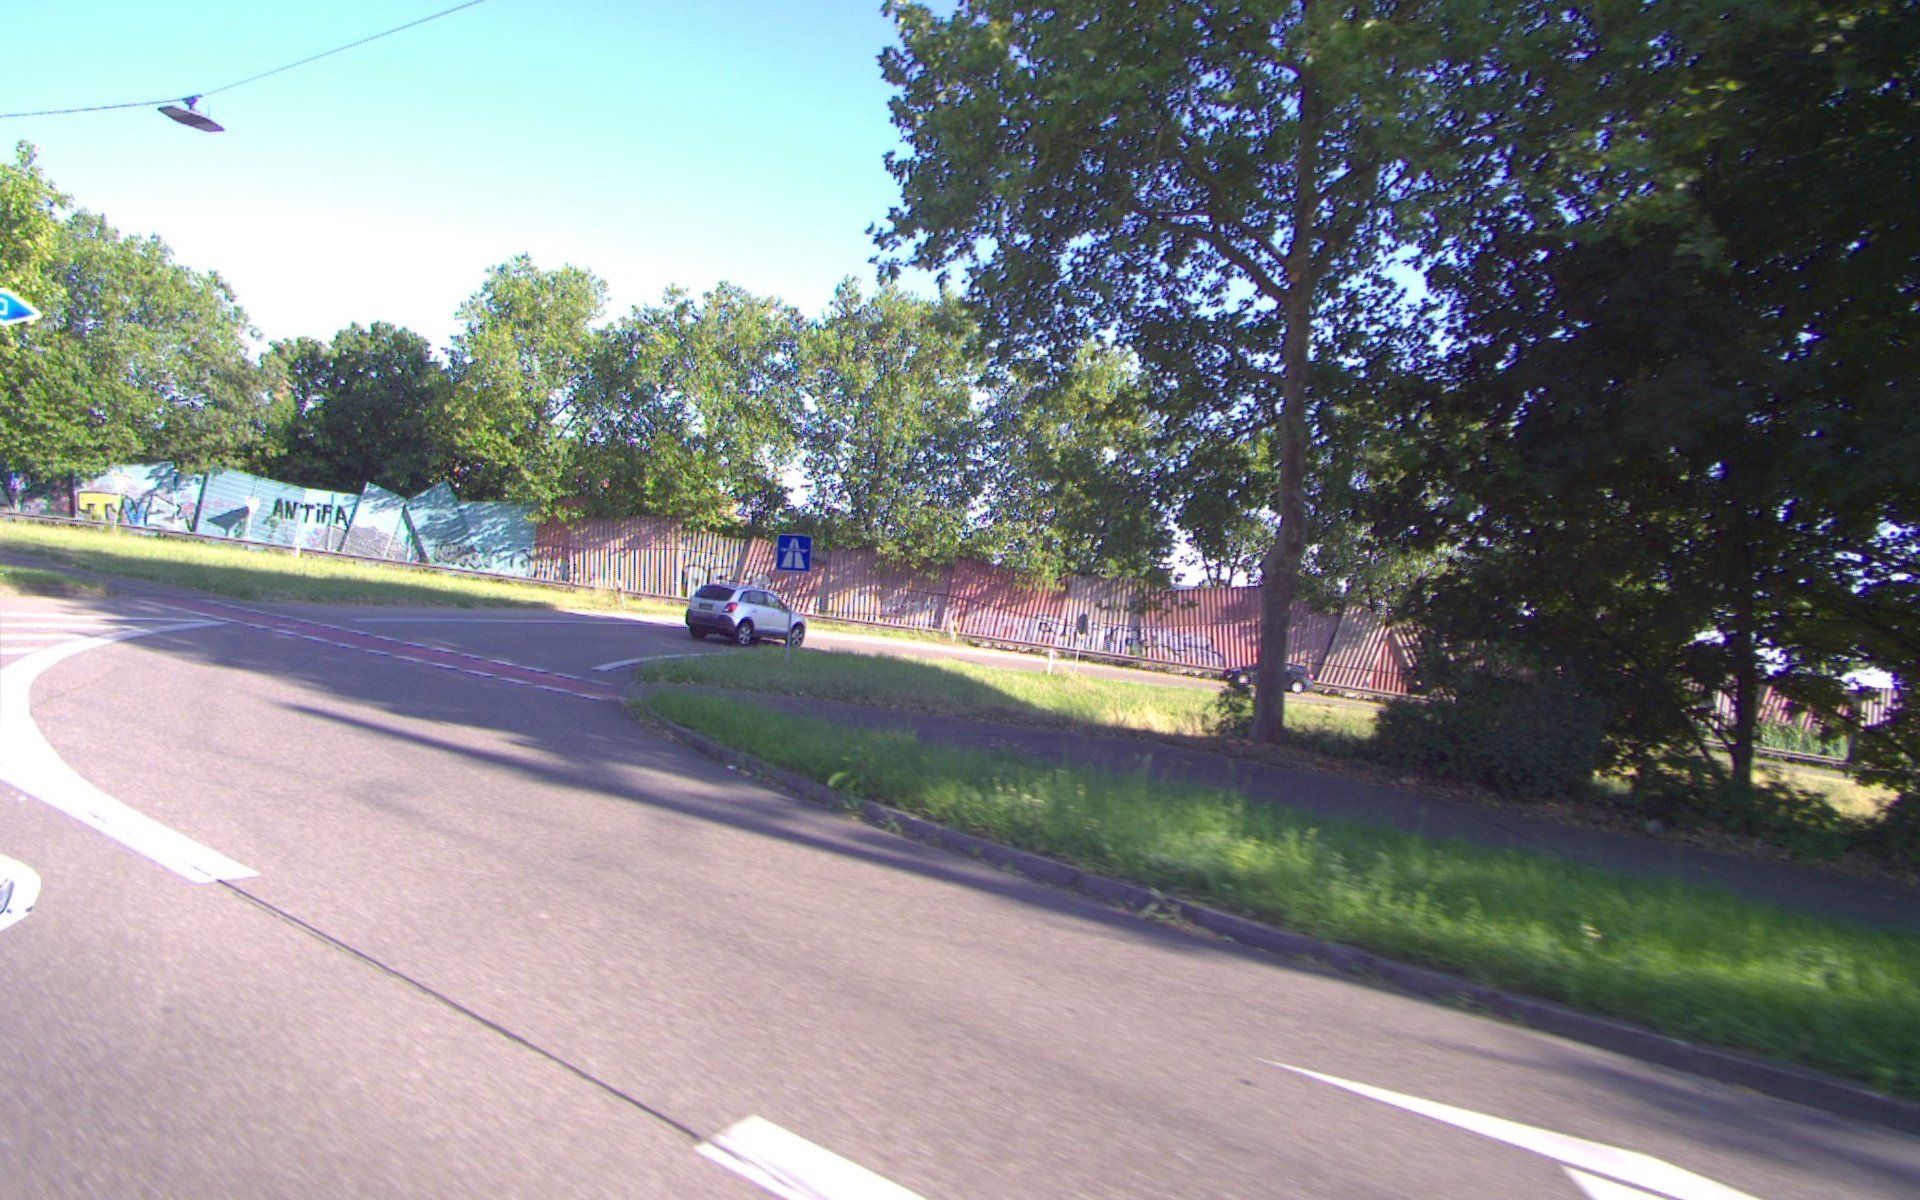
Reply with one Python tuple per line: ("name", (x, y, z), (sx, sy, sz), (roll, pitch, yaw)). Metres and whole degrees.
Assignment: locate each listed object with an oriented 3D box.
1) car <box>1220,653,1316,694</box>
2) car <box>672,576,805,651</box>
("car", (15.177, 3.622, 49.789), (4.143, 1.457, 1.800), (7, -1, 6))
("car", (-6.521, 0.449, 30.060), (1.782, 1.793, 3.862), (7, -1, 24))
